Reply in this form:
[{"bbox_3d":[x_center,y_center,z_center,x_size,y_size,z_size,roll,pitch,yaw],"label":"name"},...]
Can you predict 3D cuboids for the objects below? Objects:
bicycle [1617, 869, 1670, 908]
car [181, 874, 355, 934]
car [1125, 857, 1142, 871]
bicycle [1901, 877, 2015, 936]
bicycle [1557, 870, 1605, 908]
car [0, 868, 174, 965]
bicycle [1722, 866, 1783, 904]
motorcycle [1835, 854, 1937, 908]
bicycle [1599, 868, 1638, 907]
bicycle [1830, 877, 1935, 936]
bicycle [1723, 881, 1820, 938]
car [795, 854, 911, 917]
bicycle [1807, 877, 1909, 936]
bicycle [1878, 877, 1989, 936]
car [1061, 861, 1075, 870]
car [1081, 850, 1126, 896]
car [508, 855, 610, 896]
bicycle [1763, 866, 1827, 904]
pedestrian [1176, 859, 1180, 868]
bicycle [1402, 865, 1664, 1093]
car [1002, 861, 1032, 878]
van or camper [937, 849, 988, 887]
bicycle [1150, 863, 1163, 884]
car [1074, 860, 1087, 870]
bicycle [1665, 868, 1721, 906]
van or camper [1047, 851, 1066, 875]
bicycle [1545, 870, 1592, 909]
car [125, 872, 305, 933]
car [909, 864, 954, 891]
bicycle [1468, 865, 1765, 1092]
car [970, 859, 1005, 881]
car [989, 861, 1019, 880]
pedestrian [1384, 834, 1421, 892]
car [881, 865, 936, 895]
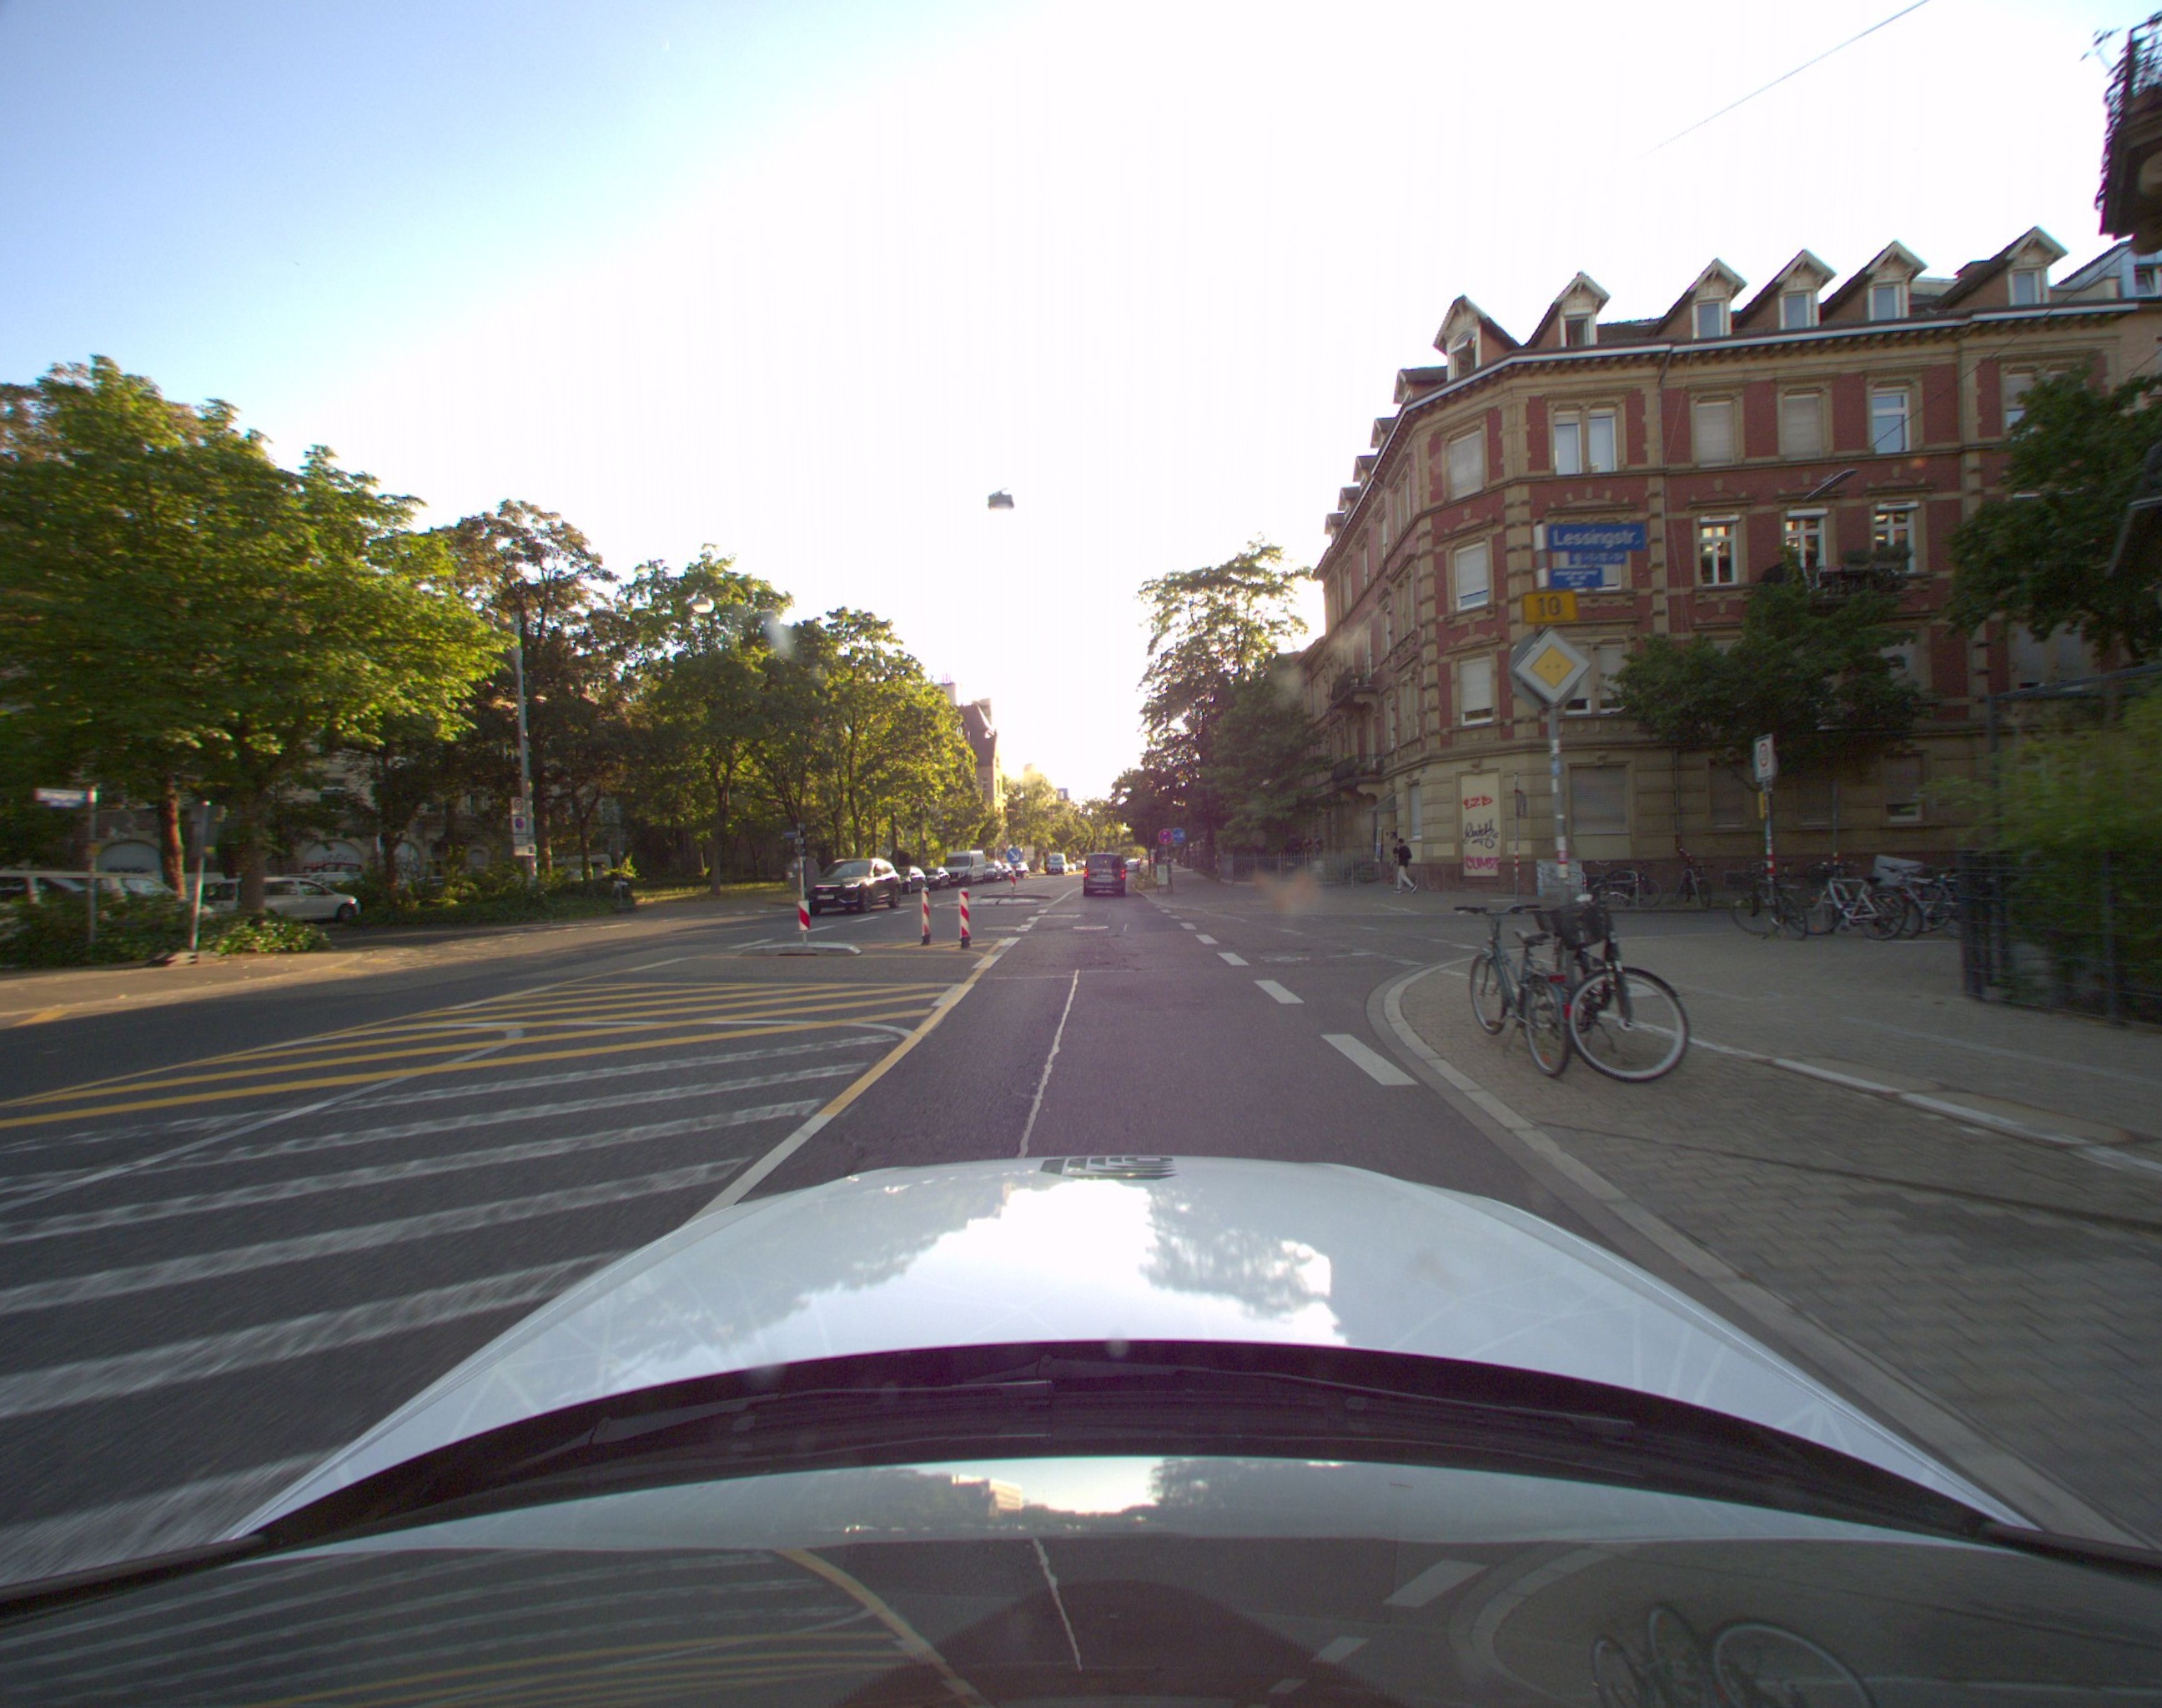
[{"bbox_3d":[13.656,0.830,19.812,0.293,0.817,1.498,0,3,2],"label":"bicycle"},{"bbox_3d":[-28.300,1.680,28.557,1.986,1.882,4.001,0,0,1],"label":"car"},{"bbox_3d":[6.235,1.182,96.880,1.984,1.634,4.005,-1,0,4],"label":"car"},{"bbox_3d":[12.933,0.753,12.064,0.292,0.817,1.501,0,-2,10],"label":"bicycle"},{"bbox_3d":[12.369,0.848,20.185,0.290,0.817,1.498,0,3,2],"label":"bicycle"},{"bbox_3d":[-21.263,1.216,16.234,1.812,1.795,4.001,-1,0,1],"label":"car"},{"bbox_3d":[16.603,0.747,20.163,0.293,0.817,1.498,0,3,2],"label":"bicycle"},{"bbox_3d":[19.435,0.607,19.742,0.876,1.122,2.220,1,3,20],"label":"motorcycle"},{"bbox_3d":[13.239,0.806,20.087,0.292,0.817,1.503,1,3,14],"label":"bicycle"},{"bbox_3d":[11.767,0.752,12.013,0.292,0.817,1.501,0,-2,10],"label":"bicycle"},{"bbox_3d":[10.527,0.827,12.478,0.292,0.817,1.739,0,-2,10],"label":"bicycle"},{"bbox_3d":[-7.080,0.921,25.817,1.867,1.706,4.575,-4,-1,6],"label":"car"},{"bbox_3d":[11.456,0.752,12.058,0.292,0.817,1.501,0,-2,10],"label":"bicycle"},{"bbox_3d":[12.613,0.758,12.096,0.292,0.817,1.501,0,-2,10],"label":"bicycle"},{"bbox_3d":[-1.765,1.565,111.824,1.529,1.248,3.618,0,0,5],"label":"car"},{"bbox_3d":[1.028,0.832,36.899,1.880,1.925,3.841,-2,0,2],"label":"car"},{"bbox_3d":[-34.796,1.404,54.378,2.244,2.485,5.267,-2,0,39],"label":"car"},{"bbox_3d":[17.598,0.751,20.110,0.293,0.817,1.498,0,3,2],"label":"bicycle"},{"bbox_3d":[16.539,1.615,139.158,0.641,1.633,0.657,0,-1,6],"label":"pedestrian"},{"bbox_3d":[3.114,0.770,5.947,0.563,1.299,2.265,-5,-2,1],"label":"bicycle"},{"bbox_3d":[-5.982,1.440,76.899,1.984,1.483,4.836,-2,0,5],"label":"car"},{"bbox_3d":[-8.289,0.941,57.468,2.081,2.468,6.314,-2,0,5],"label":"van or camper"},{"bbox_3d":[4.431,1.114,47.763,0.644,1.167,1.931,0,0,2],"label":"bicycle"},{"bbox_3d":[-0.119,1.716,126.430,1.689,1.451,4.005,0,0,5],"label":"car"},{"bbox_3d":[15.185,0.810,20.250,0.293,0.817,1.498,0,3,2],"label":"bicycle"},{"bbox_3d":[-2.905,1.060,97.281,1.986,2.669,6.040,0,0,1],"label":"van or camper"},{"bbox_3d":[12.008,0.851,20.082,0.290,0.817,1.498,0,3,2],"label":"bicycle"},{"bbox_3d":[-34.328,1.841,32.525,1.985,2.189,4.744,0,0,2],"label":"car"},{"bbox_3d":[-9.078,1.407,49.817,1.621,1.429,4.248,-2,0,5],"label":"car"},{"bbox_3d":[3.652,0.757,5.880,0.563,1.275,2.265,-5,-2,1],"label":"bicycle"},{"bbox_3d":[-7.385,1.263,64.822,1.857,1.645,4.577,-2,-1,5],"label":"car"},{"bbox_3d":[-6.610,1.402,70.315,1.727,1.445,4.632,-1,0,5],"label":"car"},{"bbox_3d":[10.323,0.282,26.161,0.742,1.778,0.832,-5,-1,2],"label":"pedestrian"},{"bbox_3d":[-9.444,1.400,44.875,1.615,1.506,4.551,-2,-1,6],"label":"car"}]
